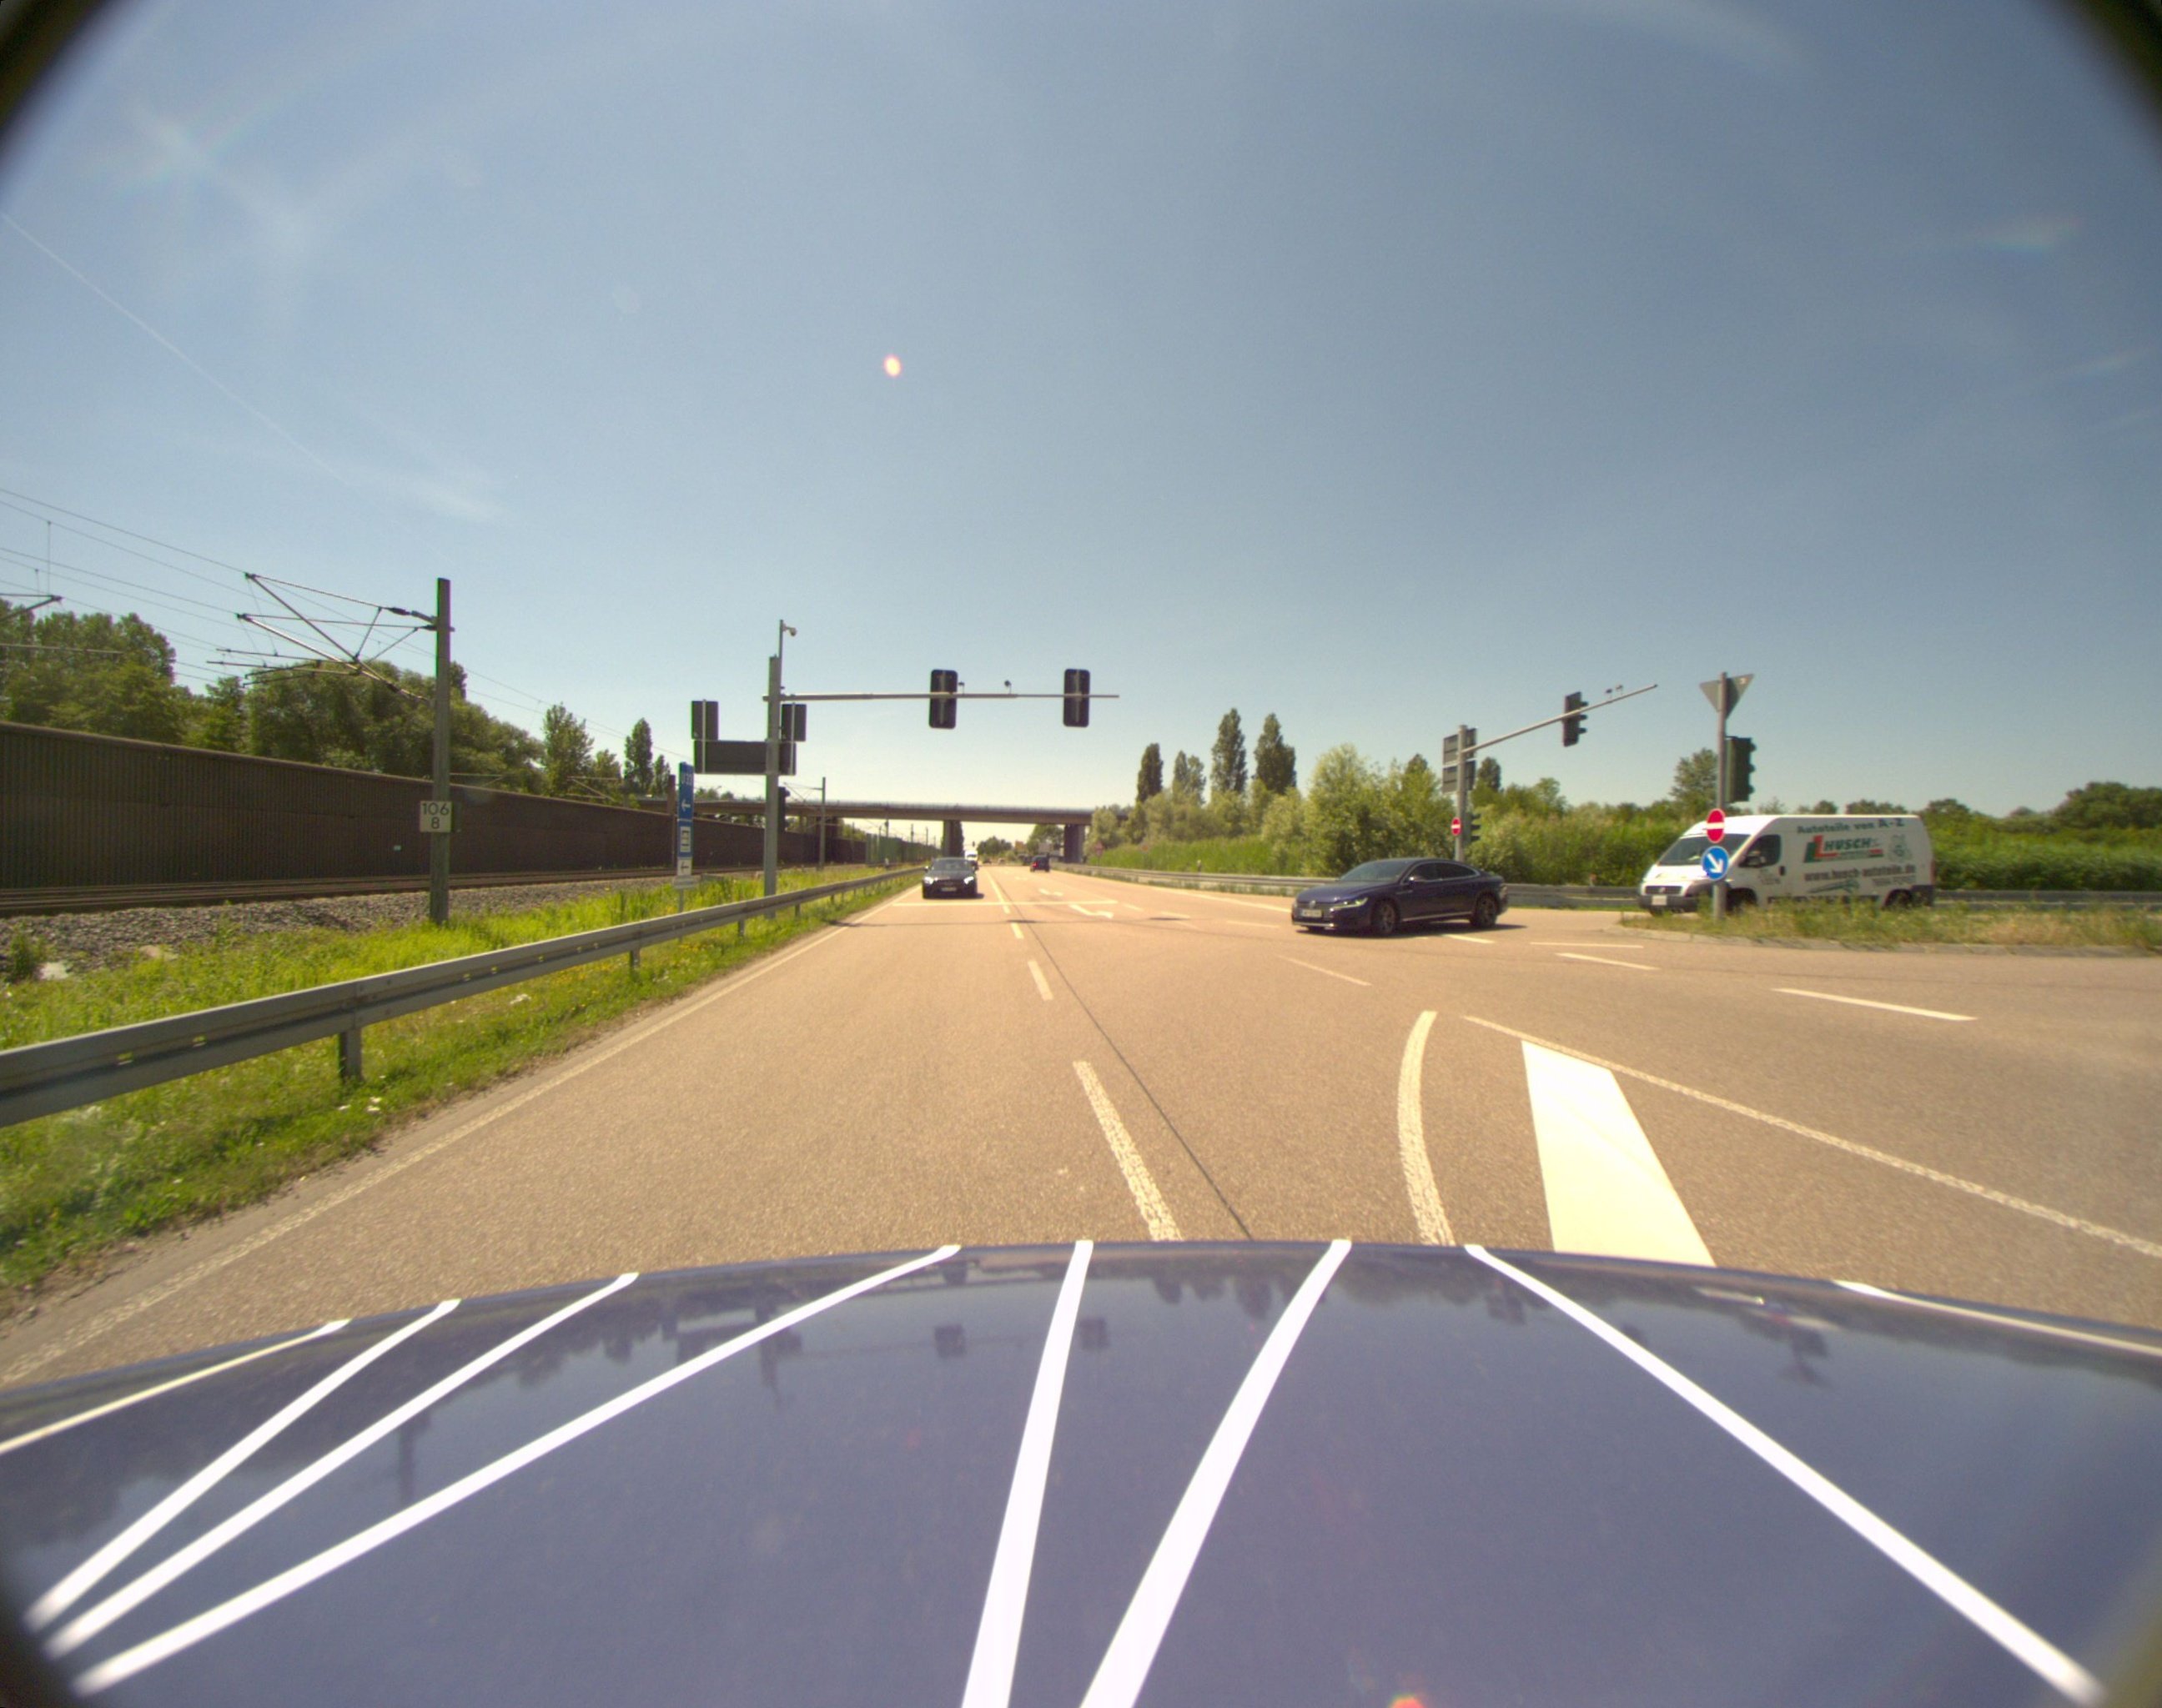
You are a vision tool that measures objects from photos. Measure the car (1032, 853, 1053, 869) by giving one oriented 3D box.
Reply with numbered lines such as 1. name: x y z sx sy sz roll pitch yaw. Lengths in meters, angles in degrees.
1. car: -3.809 0.666 74.360 1.643 1.587 3.558 0 0 -10

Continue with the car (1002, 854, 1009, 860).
1. car: -18.457 0.760 185.163 1.590 1.553 3.685 0 0 -7

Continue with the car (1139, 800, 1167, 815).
1. car: 12.634 -8.131 133.615 4.645 2.427 1.912 0 0 -2

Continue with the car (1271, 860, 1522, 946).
1. car: 6.127 0.855 14.749 4.568 1.415 1.845 0 0 -23

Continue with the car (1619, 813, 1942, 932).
1. car: 16.148 0.447 17.705 5.982 2.480 2.228 1 -1 -8

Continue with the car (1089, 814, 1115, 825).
1. car: 3.787 -6.162 136.674 4.646 1.779 1.912 0 0 -3

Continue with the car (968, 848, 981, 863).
1. car: -16.672 0.240 119.080 1.913 2.427 4.645 0 0 -7

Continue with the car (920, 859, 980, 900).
1. car: -4.740 0.883 28.108 1.913 1.356 4.645 0 0 -7
